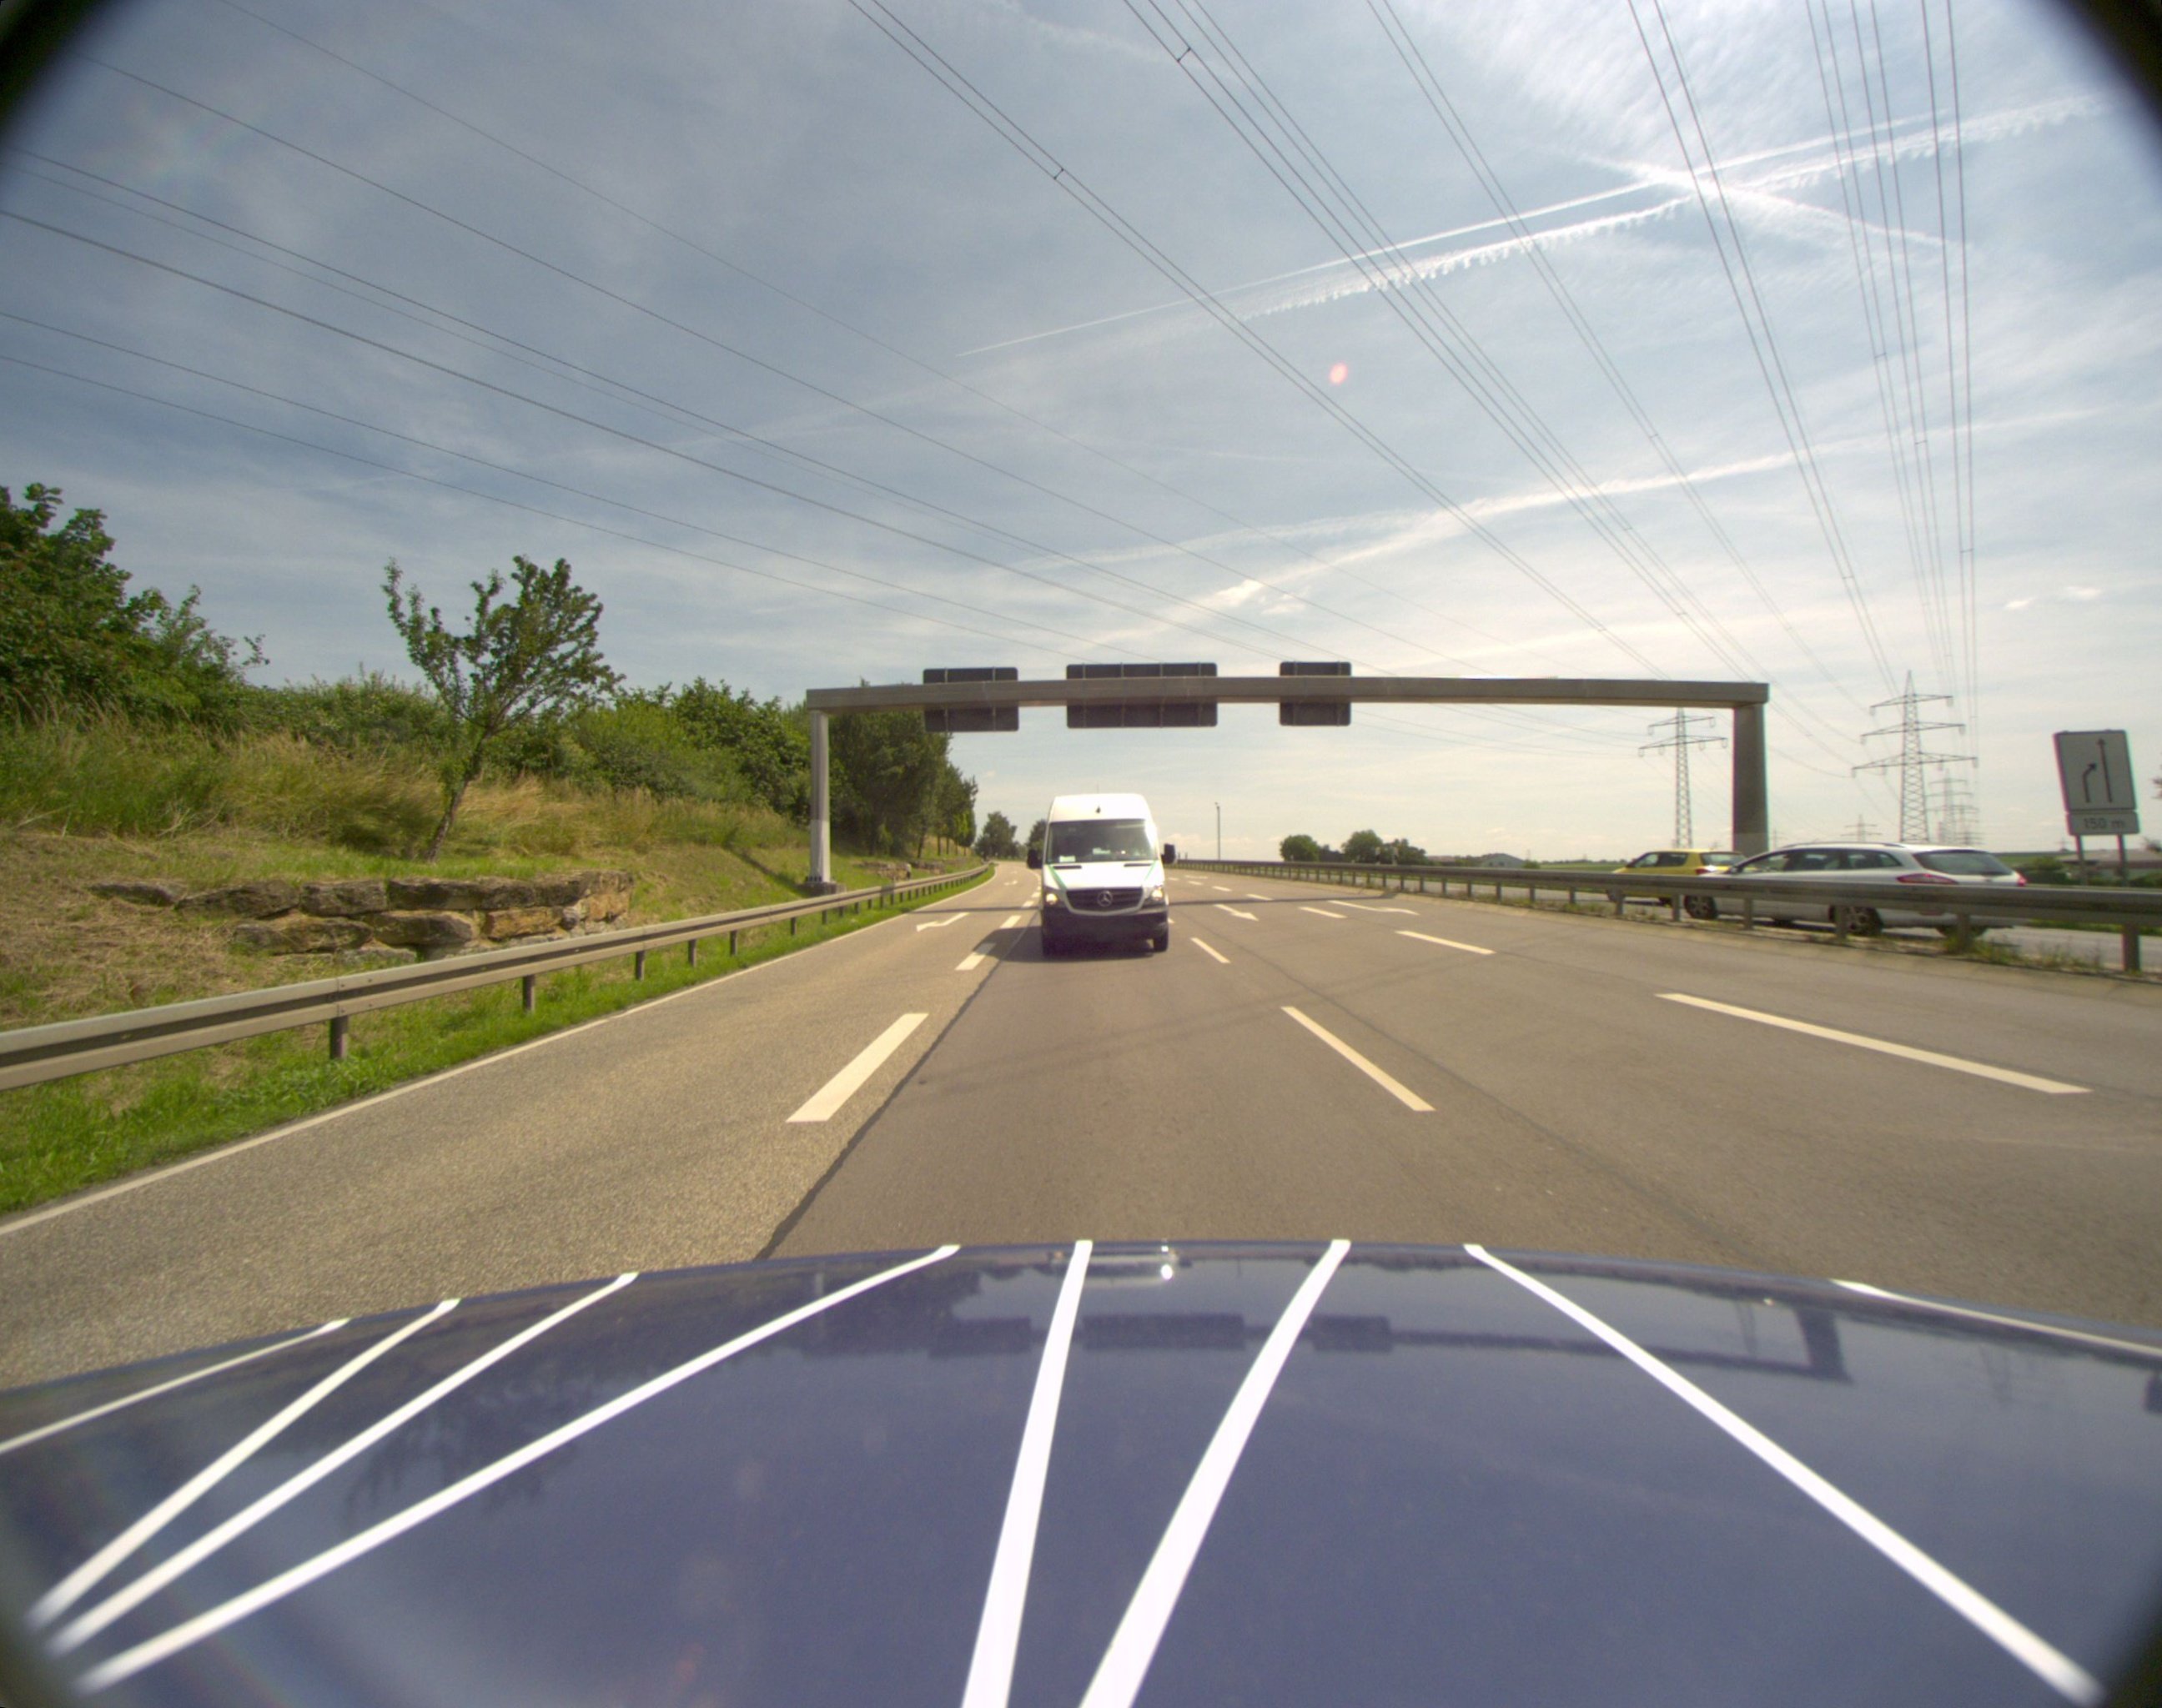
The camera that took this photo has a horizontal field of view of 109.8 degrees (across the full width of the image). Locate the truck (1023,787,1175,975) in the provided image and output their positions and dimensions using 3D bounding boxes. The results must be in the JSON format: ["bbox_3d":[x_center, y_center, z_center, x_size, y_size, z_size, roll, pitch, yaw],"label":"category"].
[{"bbox_3d":[0.291,0.353,12.917,1.998,2.518,5.105,-2,1,1],"label":"truck"}]

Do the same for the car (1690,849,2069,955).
[{"bbox_3d":[12.862,0.660,12.752,1.740,1.434,4.323,1,1,-1],"label":"car"}]

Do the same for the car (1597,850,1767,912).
[{"bbox_3d":[15.710,0.653,20.123,1.518,1.472,3.703,1,0,-1],"label":"car"}]
